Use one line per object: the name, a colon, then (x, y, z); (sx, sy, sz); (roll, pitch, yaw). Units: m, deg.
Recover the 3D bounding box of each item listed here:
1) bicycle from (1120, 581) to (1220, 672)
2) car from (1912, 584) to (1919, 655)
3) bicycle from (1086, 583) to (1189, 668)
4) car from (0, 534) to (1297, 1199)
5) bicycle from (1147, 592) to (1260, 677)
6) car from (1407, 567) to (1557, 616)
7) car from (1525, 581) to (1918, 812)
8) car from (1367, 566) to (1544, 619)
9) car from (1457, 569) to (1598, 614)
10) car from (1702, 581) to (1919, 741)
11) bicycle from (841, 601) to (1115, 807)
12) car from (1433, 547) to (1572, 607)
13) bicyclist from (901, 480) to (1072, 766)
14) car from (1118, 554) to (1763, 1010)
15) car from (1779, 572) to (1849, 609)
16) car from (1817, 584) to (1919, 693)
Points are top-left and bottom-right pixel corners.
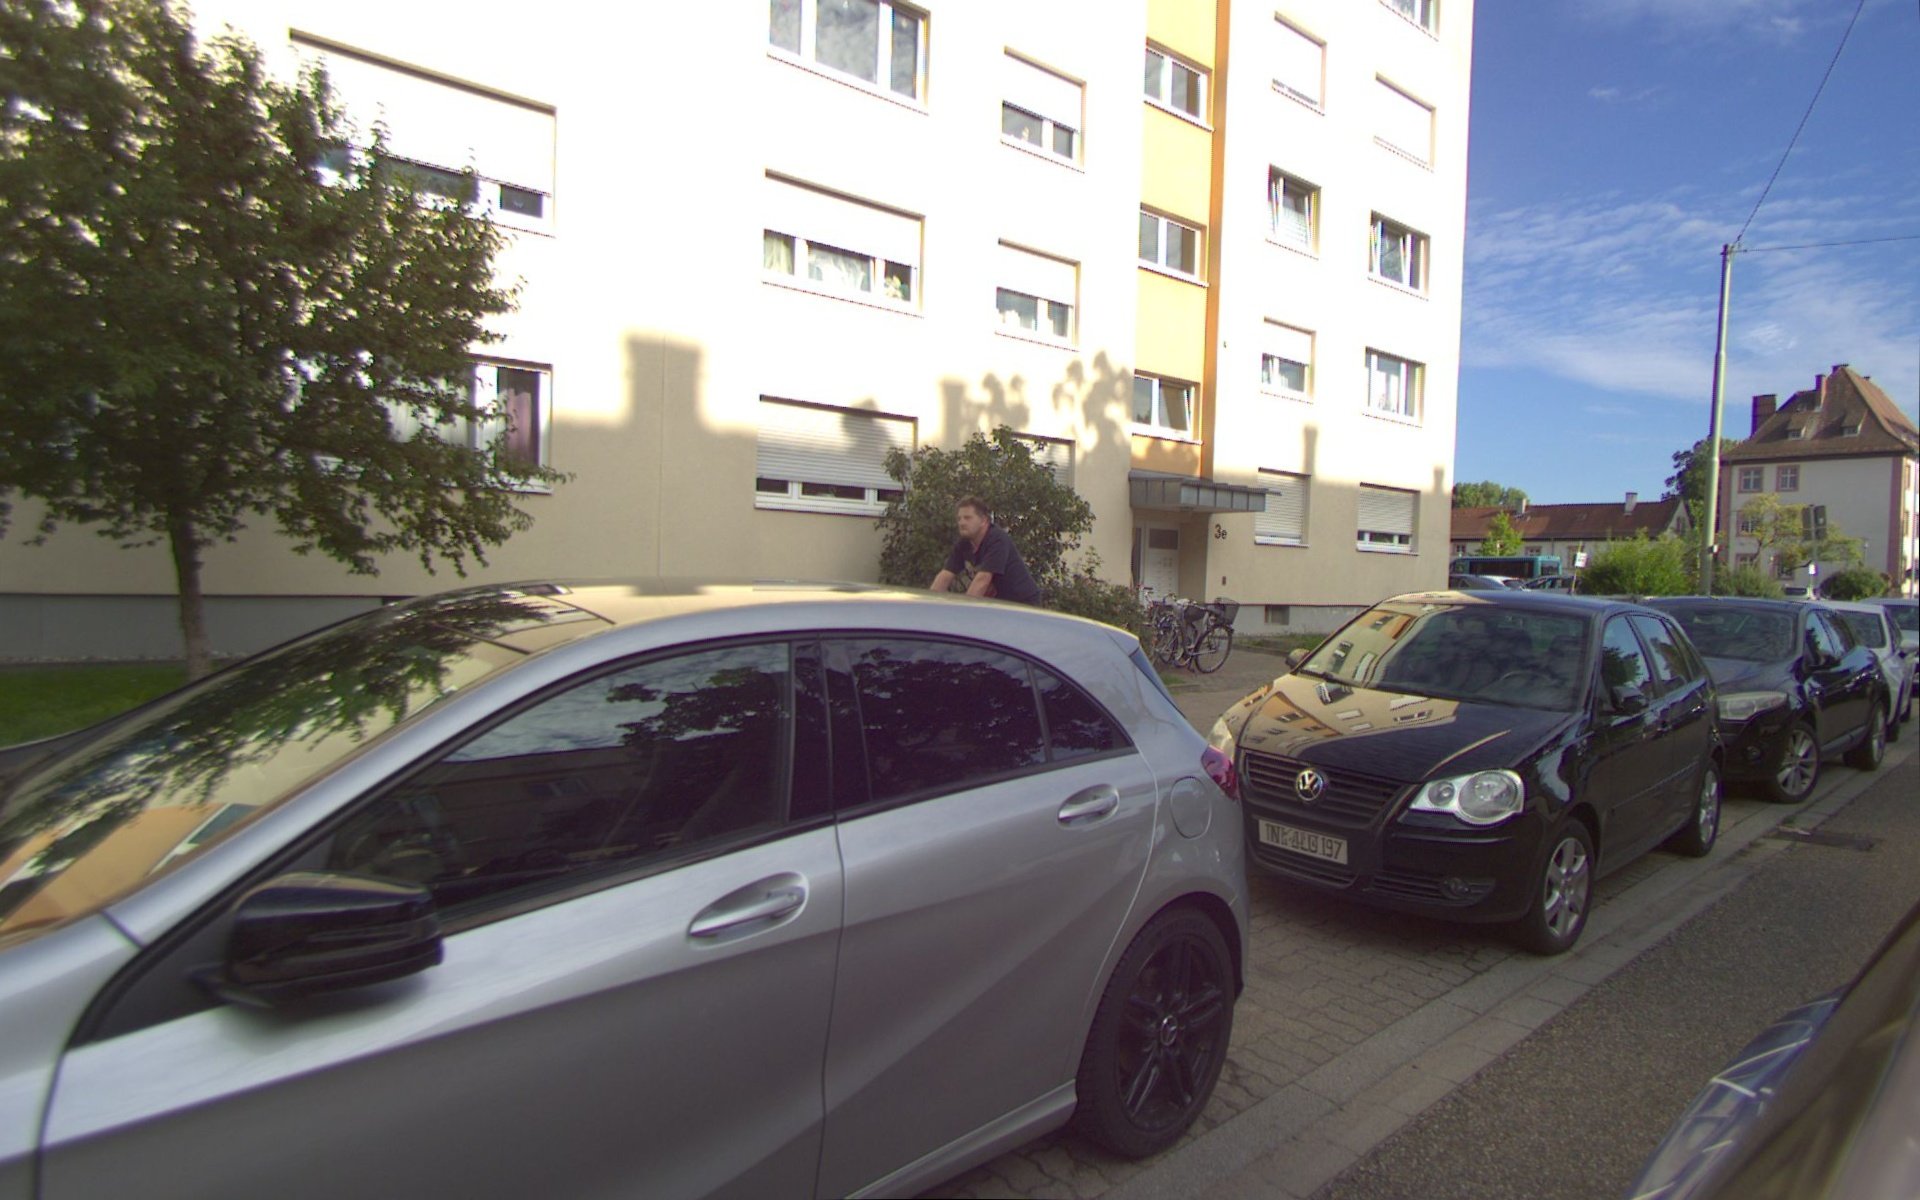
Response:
bicycle: (2.881, 0.331, 13.813); (1.563, 1.150, 0.446); (-2, 4, -41)
car: (24.017, 0.525, 23.959); (3.901, 1.621, 1.677); (0, 5, -41)
bicycle: (2.509, 0.332, 14.230); (1.563, 1.087, 0.522); (-2, 4, -41)
car: (-1.153, 0.642, 2.105); (4.109, 1.481, 1.703); (0, 3, -43)
bicycle: (3.239, 0.422, 13.388); (1.663, 1.010, 0.597); (-2, 3, -41)
car: (17.468, -0.314, 34.035); (1.833, 1.500, 4.095); (1, 2, -31)
car: (6.603, 0.635, 8.611); (4.130, 1.453, 1.688); (0, 3, -39)
car: (15.535, -0.283, 31.977); (1.835, 1.500, 4.683); (1, 2, -35)
car: (20.682, -0.331, 37.029); (1.833, 1.500, 4.095); (1, 2, -31)
car: (10.223, 0.585, 11.892); (4.136, 1.486, 1.686); (0, 3, -44)
bicycle: (0.176, 0.592, 6.548); (1.896, 1.149, 0.524); (0, 1, -42)
car: (21.694, -0.942, 40.588); (2.320, 2.219, 4.285); (1, 2, -33)
bicyclist: (0.175, 0.129, 6.524); (0.877, 1.699, 0.624); (1, 1, -41)
car: (2.737, 0.602, 5.354); (3.807, 1.519, 1.687); (0, 3, -42)
car: (43.169, -0.456, 51.106); (4.015, 1.741, 1.889); (1, 1, -38)
car: (15.740, 0.586, 16.566); (4.251, 1.542, 1.769); (0, 4, -39)
